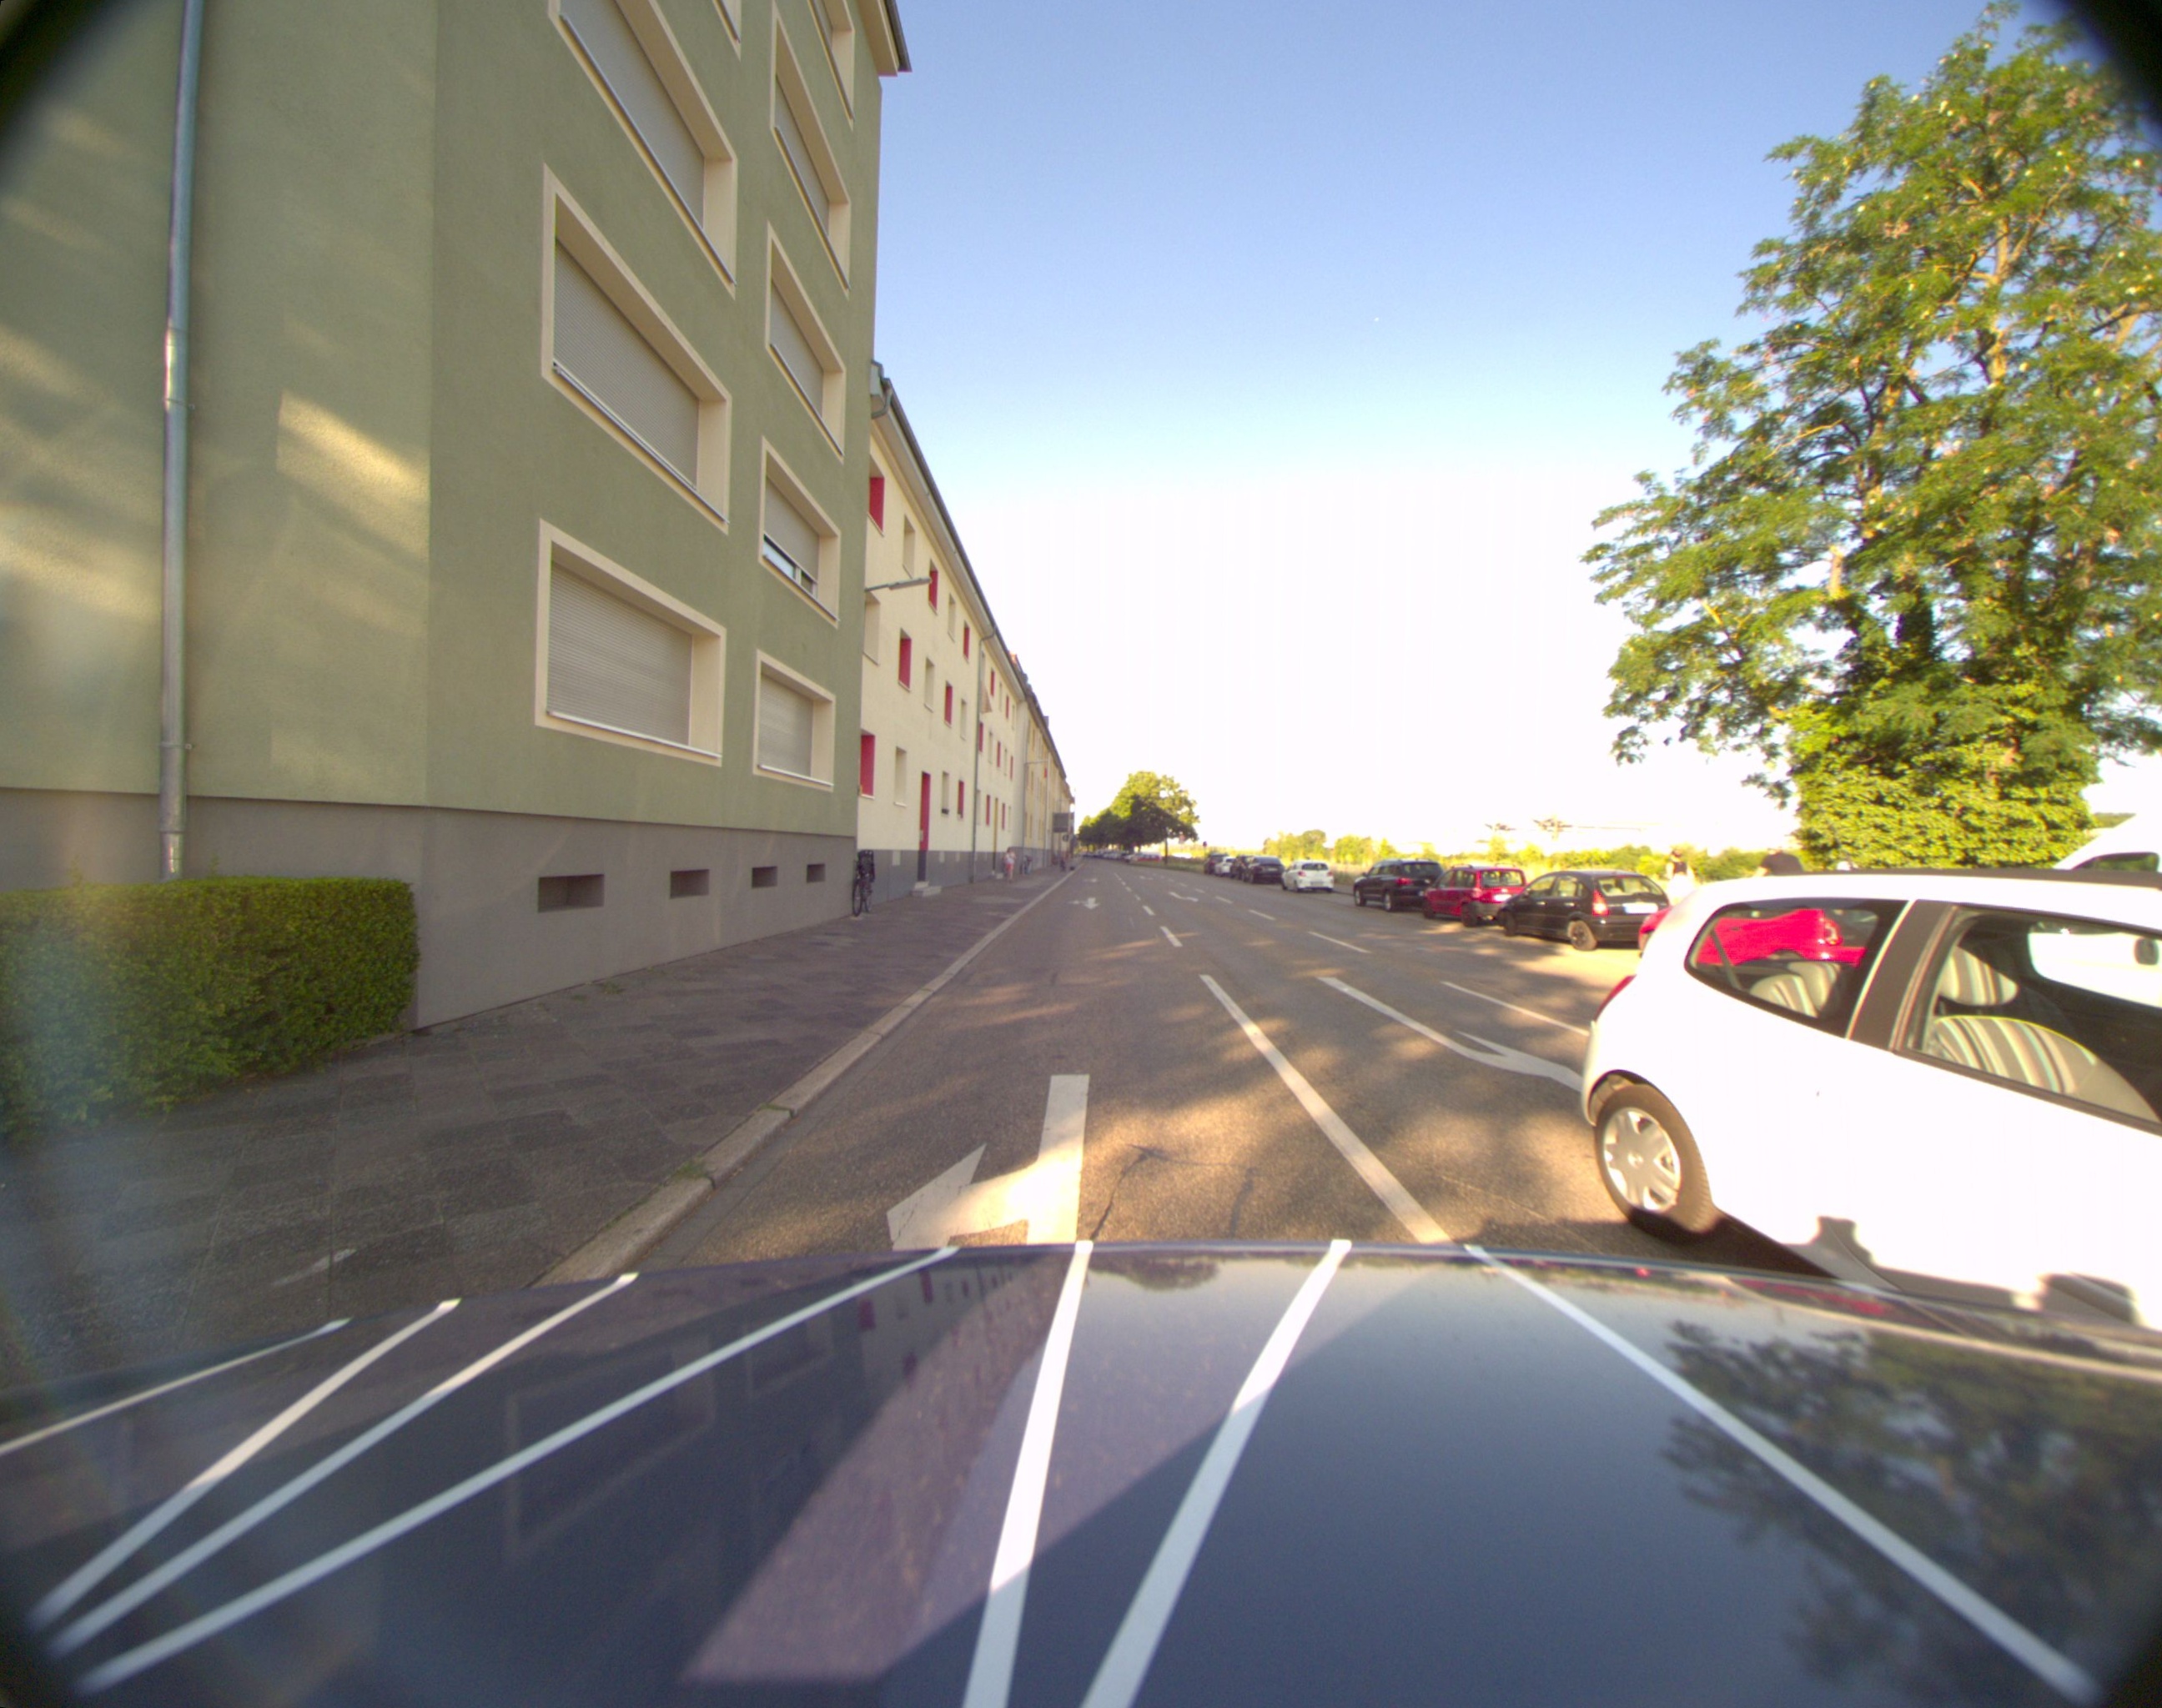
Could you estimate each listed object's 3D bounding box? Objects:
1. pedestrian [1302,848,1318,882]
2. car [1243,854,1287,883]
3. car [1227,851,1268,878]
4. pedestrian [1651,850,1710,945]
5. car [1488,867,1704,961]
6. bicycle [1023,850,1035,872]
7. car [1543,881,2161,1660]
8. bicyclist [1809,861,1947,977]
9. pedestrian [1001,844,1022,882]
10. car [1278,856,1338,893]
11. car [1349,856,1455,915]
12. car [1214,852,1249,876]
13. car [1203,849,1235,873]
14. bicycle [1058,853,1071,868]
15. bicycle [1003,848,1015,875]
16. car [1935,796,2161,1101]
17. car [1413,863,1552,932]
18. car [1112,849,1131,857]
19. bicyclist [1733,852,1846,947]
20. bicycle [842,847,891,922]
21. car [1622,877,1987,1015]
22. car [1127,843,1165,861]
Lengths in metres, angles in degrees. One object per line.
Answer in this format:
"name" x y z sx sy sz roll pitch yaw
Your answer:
"pedestrian" 13.865 0.650 46.103 0.706 2.002 0.710 2 1 2
"car" 10.577 0.806 44.005 1.823 1.517 4.291 2 0 5
"car" 10.854 0.676 49.705 1.823 1.628 4.220 2 1 2
"pedestrian" 12.990 0.930 16.487 0.615 2.002 0.730 2 1 -1
"car" 10.172 1.100 15.414 1.745 1.521 3.816 2 1 0
"bicycle" -3.156 0.427 46.310 0.517 1.318 2.210 2 1 2
"car" 3.014 0.891 1.612 1.705 1.460 3.775 2 1 -1
"bicyclist" 11.702 0.909 11.202 0.768 1.587 1.146 2 1 0
"pedestrian" -3.213 0.392 35.142 0.787 1.697 0.950 3 1 1
"car" 10.416 0.915 35.071 1.706 1.517 3.583 2 1 1
"car" 10.145 0.944 24.351 1.664 1.649 4.005 2 1 0
"car" 10.861 0.700 55.098 1.823 1.565 4.220 2 1 2
"car" 11.011 0.517 60.983 1.890 1.765 4.220 2 1 2
"bicycle" -1.240 0.485 56.845 0.651 1.091 2.201 1 1 -8
"bicycle" -3.927 0.377 41.378 0.517 1.404 1.873 2 1 -3
"car" 9.689 0.744 4.822 2.235 2.422 5.559 -1 1 -1
"car" 10.266 1.058 19.730 1.664 1.521 3.579 2 1 0
"car" 9.215 -0.233 173.167 3.997 1.708 2.000 2 1 -1
"bicyclist" 12.583 0.778 13.545 0.866 1.587 1.145 2 1 -4
"bicycle" -4.307 0.572 15.374 0.517 1.404 1.873 2 1 -3
"car" 10.070 1.174 11.044 1.745 1.478 3.694 2 1 0
"car" 9.535 -0.306 112.244 5.322 2.398 2.266 -2 1 0
